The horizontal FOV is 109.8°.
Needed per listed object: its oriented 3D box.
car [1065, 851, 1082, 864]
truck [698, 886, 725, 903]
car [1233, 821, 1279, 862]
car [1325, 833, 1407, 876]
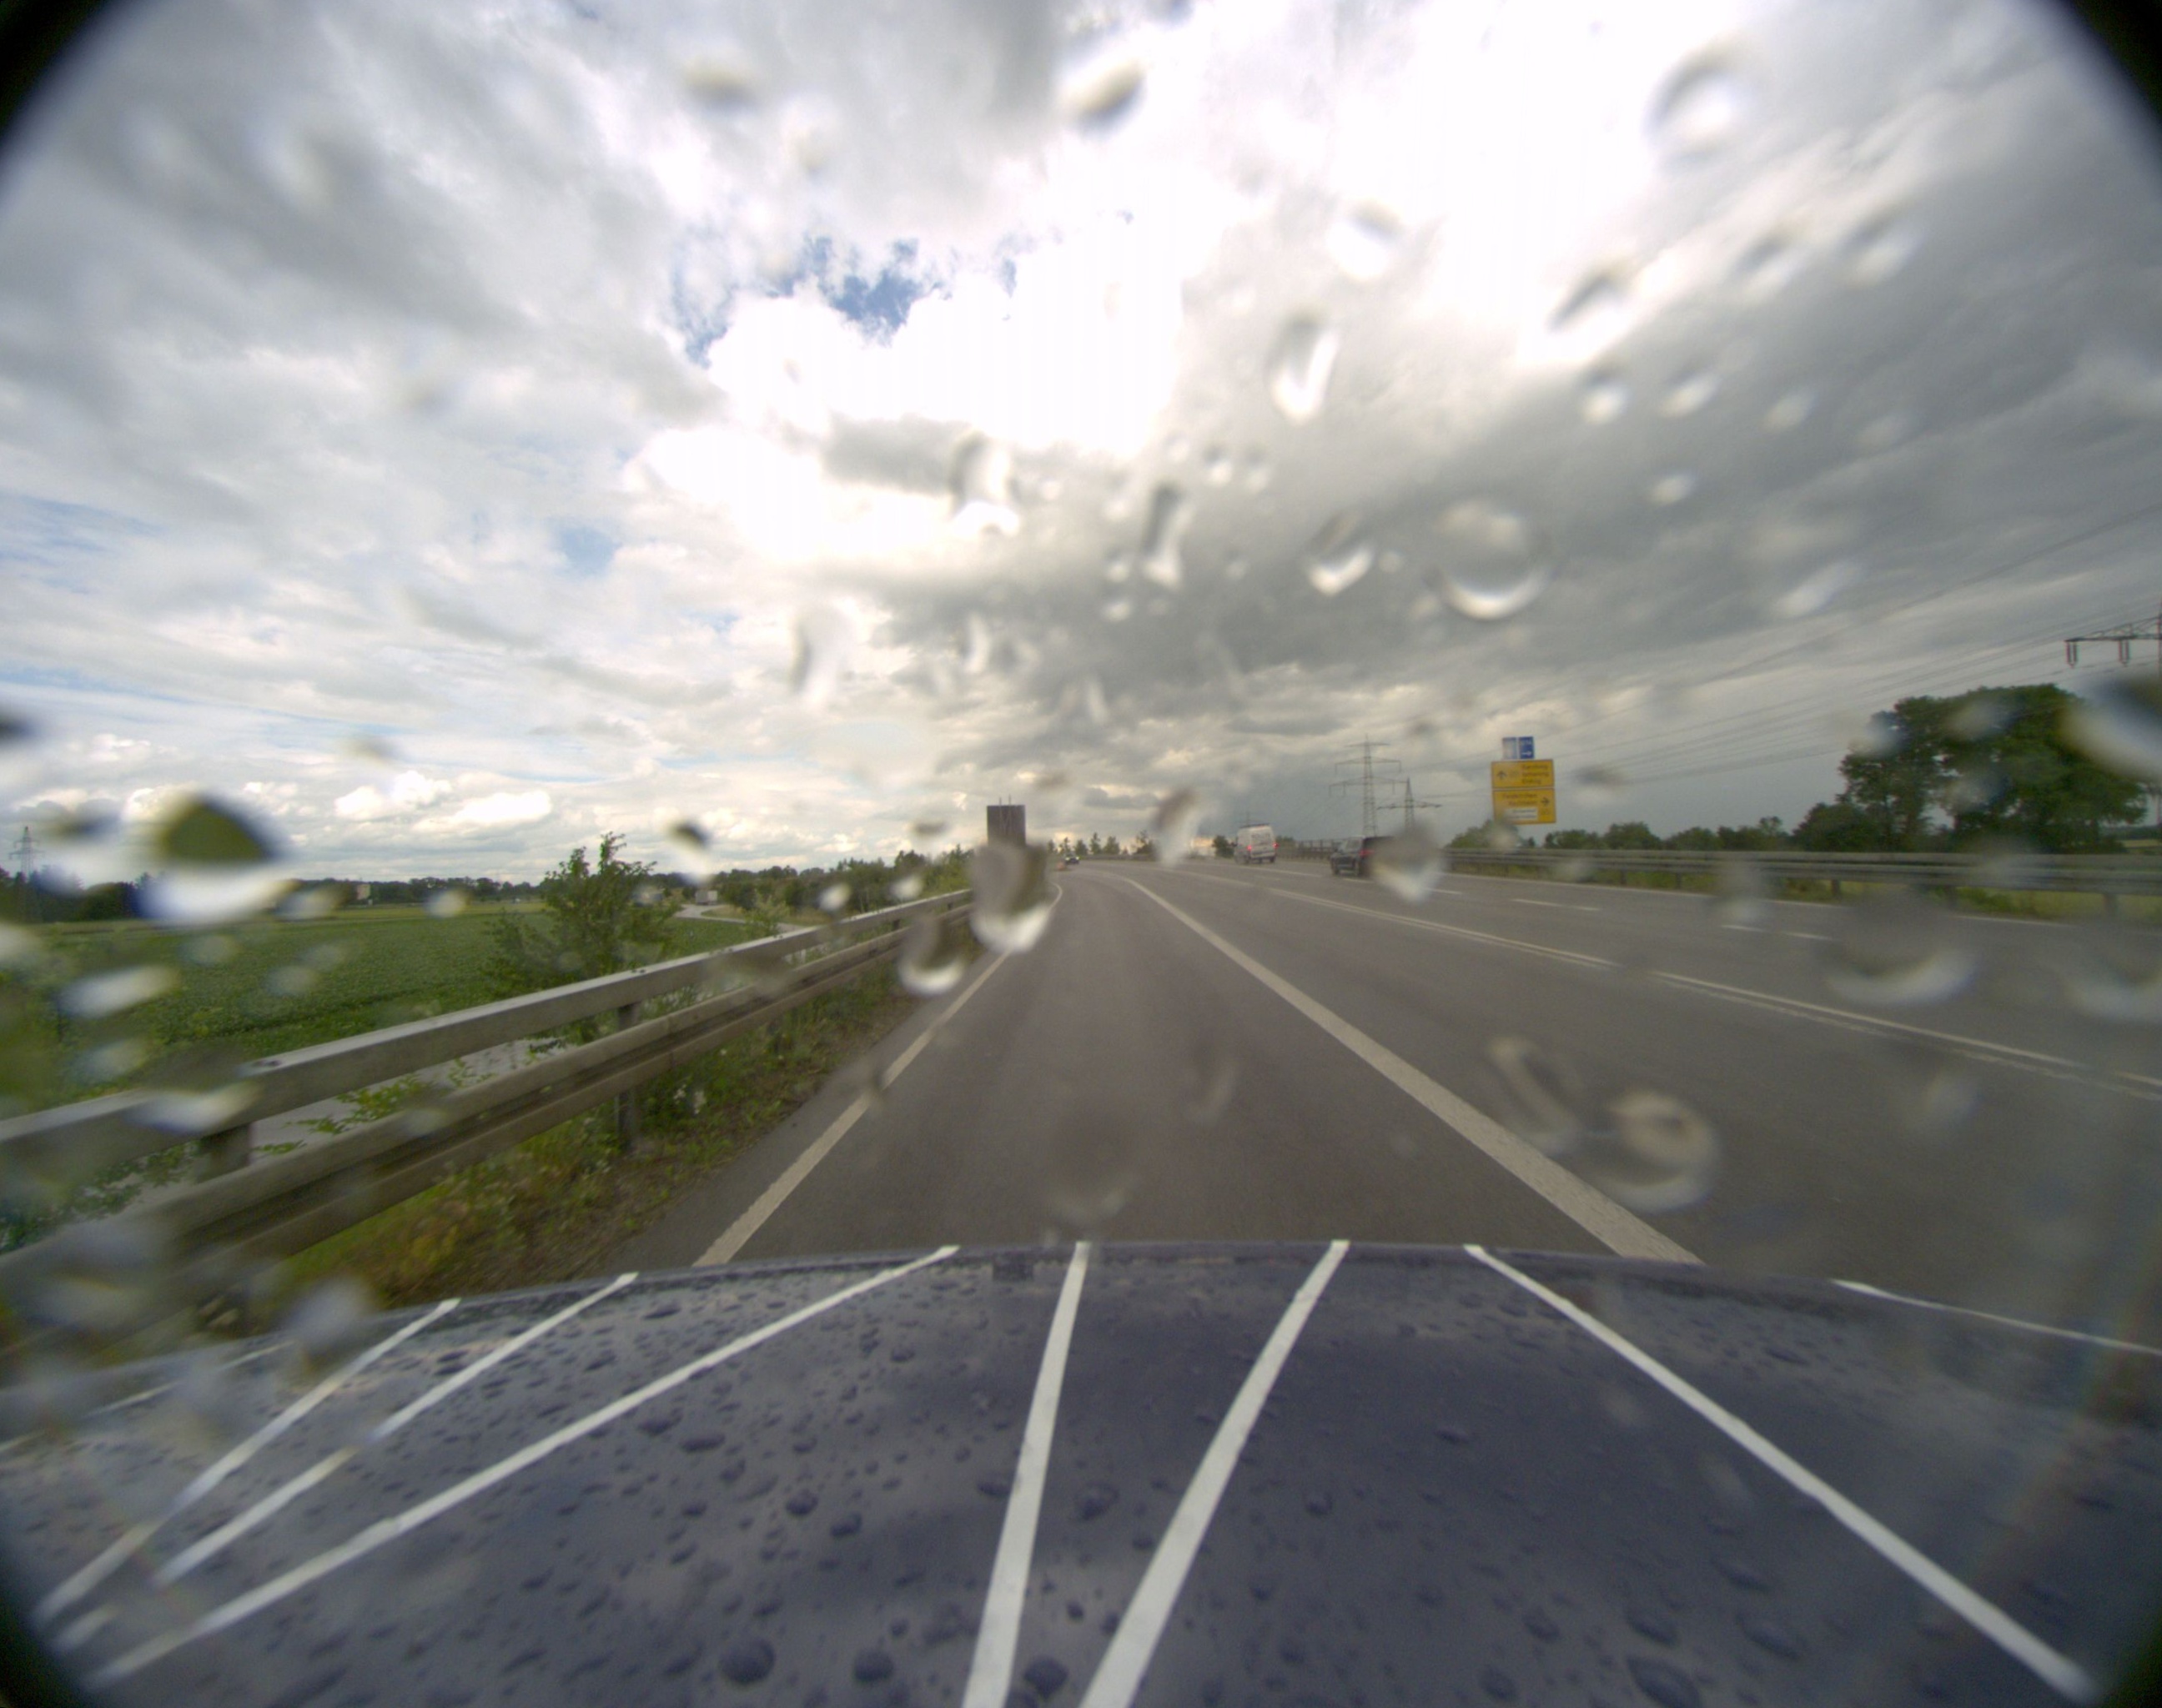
[{"bbox_3d":[-1.061,0.477,107.330,1.797,1.758,3.996,-2,1,-10],"label":"car"},{"bbox_3d":[-102.305,11.048,210.185,3.262,4.312,11.660,-4,1,-43],"label":"truck"},{"bbox_3d":[12.358,-0.849,54.049,1.975,2.639,5.459,-3,1,1],"label":"car"},{"bbox_3d":[11.889,0.006,31.988,1.712,1.600,4.636,-3,1,1],"label":"car"}]
